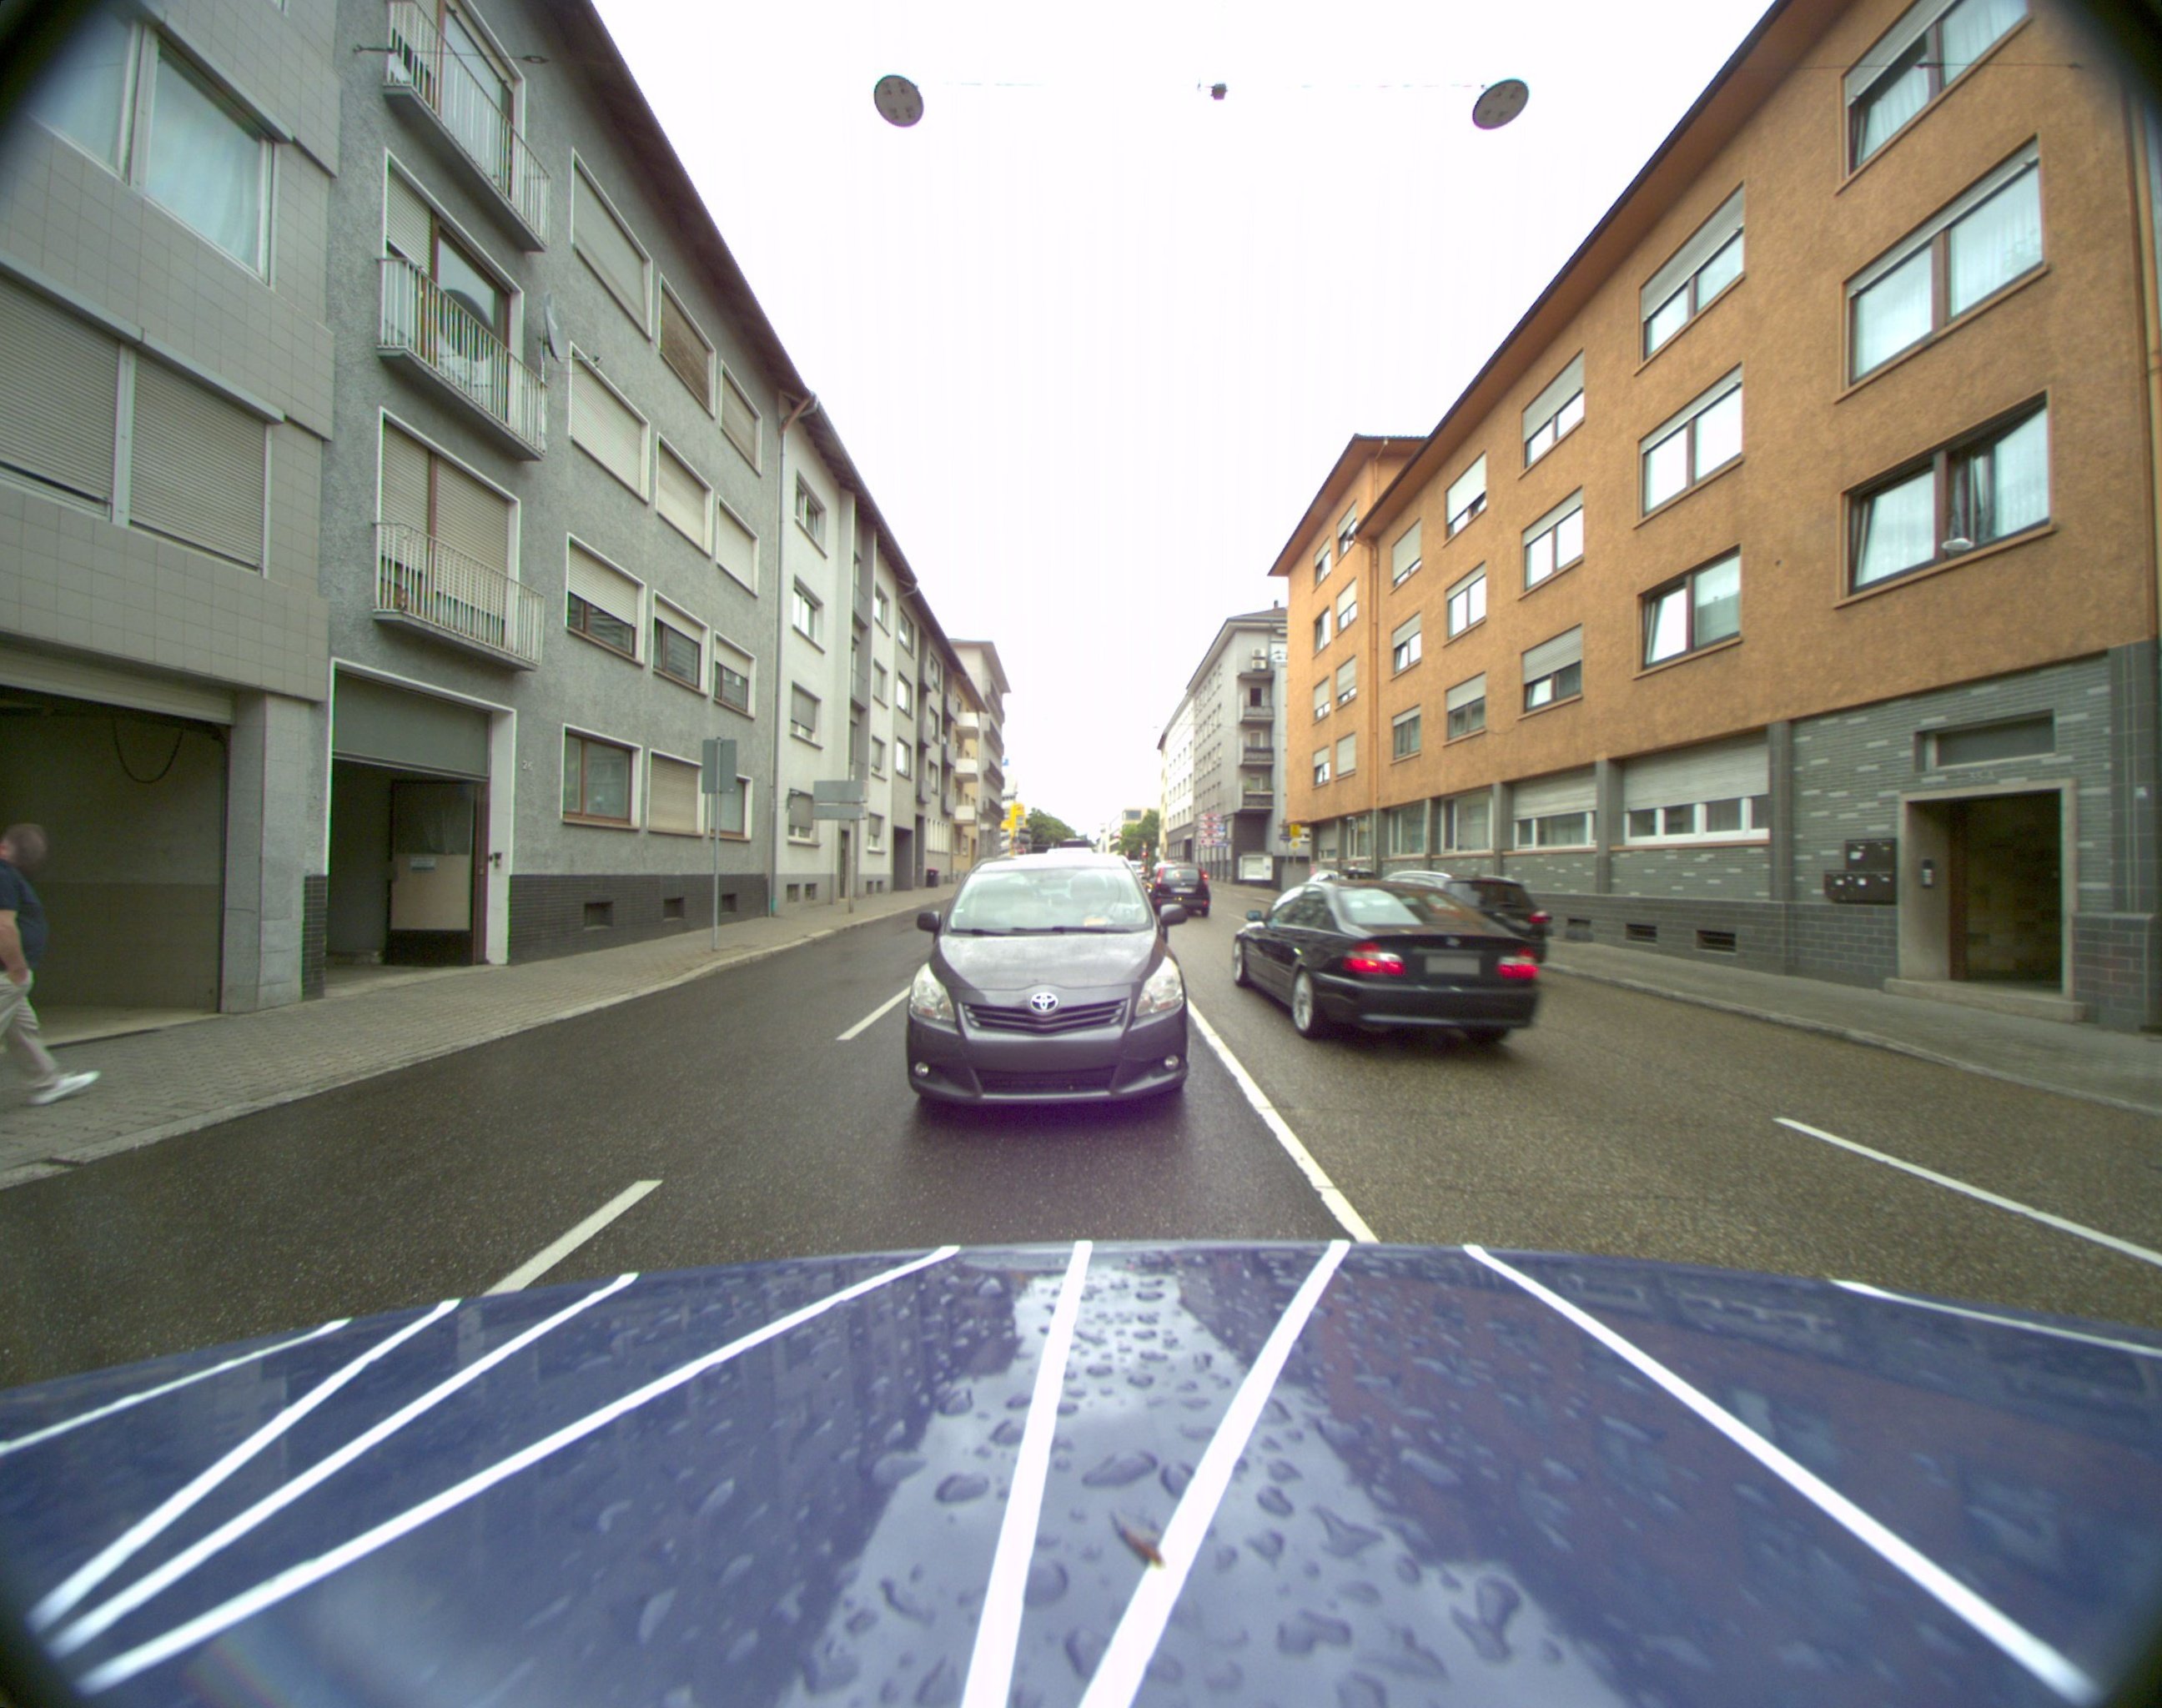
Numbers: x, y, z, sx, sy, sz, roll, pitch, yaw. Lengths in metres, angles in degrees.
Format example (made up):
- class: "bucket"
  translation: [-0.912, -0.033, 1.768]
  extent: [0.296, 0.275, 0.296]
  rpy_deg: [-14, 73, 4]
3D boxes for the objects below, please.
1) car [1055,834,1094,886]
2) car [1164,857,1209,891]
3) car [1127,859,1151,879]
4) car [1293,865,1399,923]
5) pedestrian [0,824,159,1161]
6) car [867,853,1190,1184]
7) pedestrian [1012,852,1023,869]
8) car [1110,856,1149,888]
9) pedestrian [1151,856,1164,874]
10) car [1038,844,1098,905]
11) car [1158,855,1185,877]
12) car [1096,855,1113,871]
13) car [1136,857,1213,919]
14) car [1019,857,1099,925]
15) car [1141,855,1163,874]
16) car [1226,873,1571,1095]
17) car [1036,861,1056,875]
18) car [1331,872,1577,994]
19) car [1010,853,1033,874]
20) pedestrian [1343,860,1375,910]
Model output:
- class: "car"
  translation: [-0.334, 0.300, 43.653]
  extent: [2.033, 2.731, 4.368]
  rpy_deg: [-2, 1, 1]
- class: "car"
  translation: [5.632, 1.028, 40.934]
  extent: [1.699, 1.530, 4.435]
  rpy_deg: [4, 1, 0]
- class: "car"
  translation: [5.450, 1.372, 71.666]
  extent: [1.856, 1.651, 4.610]
  rpy_deg: [-2, 1, 1]
- class: "car"
  translation: [8.040, 1.155, 23.469]
  extent: [1.799, 1.466, 4.217]
  rpy_deg: [-2, 1, 1]
- class: "pedestrian"
  translation: [-6.469, 0.775, 4.371]
  extent: [0.871, 1.855, 1.120]
  rpy_deg: [4, 1, 1]
- class: "car"
  translation: [-0.255, 0.905, 6.260]
  extent: [1.699, 1.712, 4.217]
  rpy_deg: [-2, 1, 1]
- class: "pedestrian"
  translation: [-6.722, 0.697, 80.947]
  extent: [1.119, 1.741, 0.961]
  rpy_deg: [1, 1, -5]
- class: "car"
  translation: [2.575, 0.932, 41.287]
  extent: [1.749, 1.530, 4.052]
  rpy_deg: [2, 1, -1]
- class: "pedestrian"
  translation: [8.611, 1.246, 85.938]
  extent: [1.309, 2.002, 1.258]
  rpy_deg: [-2, 1, 1]
- class: "car"
  translation: [-0.399, 0.640, 26.609]
  extent: [1.856, 1.882, 4.217]
  rpy_deg: [-2, 1, 1]
- class: "car"
  translation: [7.812, 1.001, 65.761]
  extent: [1.856, 1.712, 4.217]
  rpy_deg: [-2, 1, 1]
- class: "car"
  translation: [2.839, 1.069, 92.794]
  extent: [1.856, 1.712, 4.217]
  rpy_deg: [-2, 1, 1]
- class: "car"
  translation: [2.659, 0.924, 22.555]
  extent: [1.622, 1.530, 4.216]
  rpy_deg: [2, 1, -1]
- class: "car"
  translation: [-0.509, 0.896, 20.104]
  extent: [1.856, 1.524, 3.792]
  rpy_deg: [-2, 1, 1]
- class: "car"
  translation: [7.253, 1.072, 77.684]
  extent: [1.856, 1.712, 4.217]
  rpy_deg: [-2, 1, 1]
- class: "car"
  translation: [2.686, 0.988, 7.584]
  extent: [1.699, 1.362, 4.217]
  rpy_deg: [2, 1, 1]
- class: "car"
  translation: [-3.770, 1.522, 82.904]
  extent: [1.856, 1.369, 4.217]
  rpy_deg: [-2, 1, 1]
- class: "car"
  translation: [5.673, 1.098, 12.288]
  extent: [1.727, 1.464, 4.373]
  rpy_deg: [2, 0, -1]
- class: "car"
  translation: [-5.134, 0.790, 65.894]
  extent: [1.856, 1.663, 4.215]
  rpy_deg: [-2, 1, -4]
- class: "pedestrian"
  translation: [9.579, 1.060, 26.228]
  extent: [0.768, 1.630, 1.023]
  rpy_deg: [-2, 1, 5]
